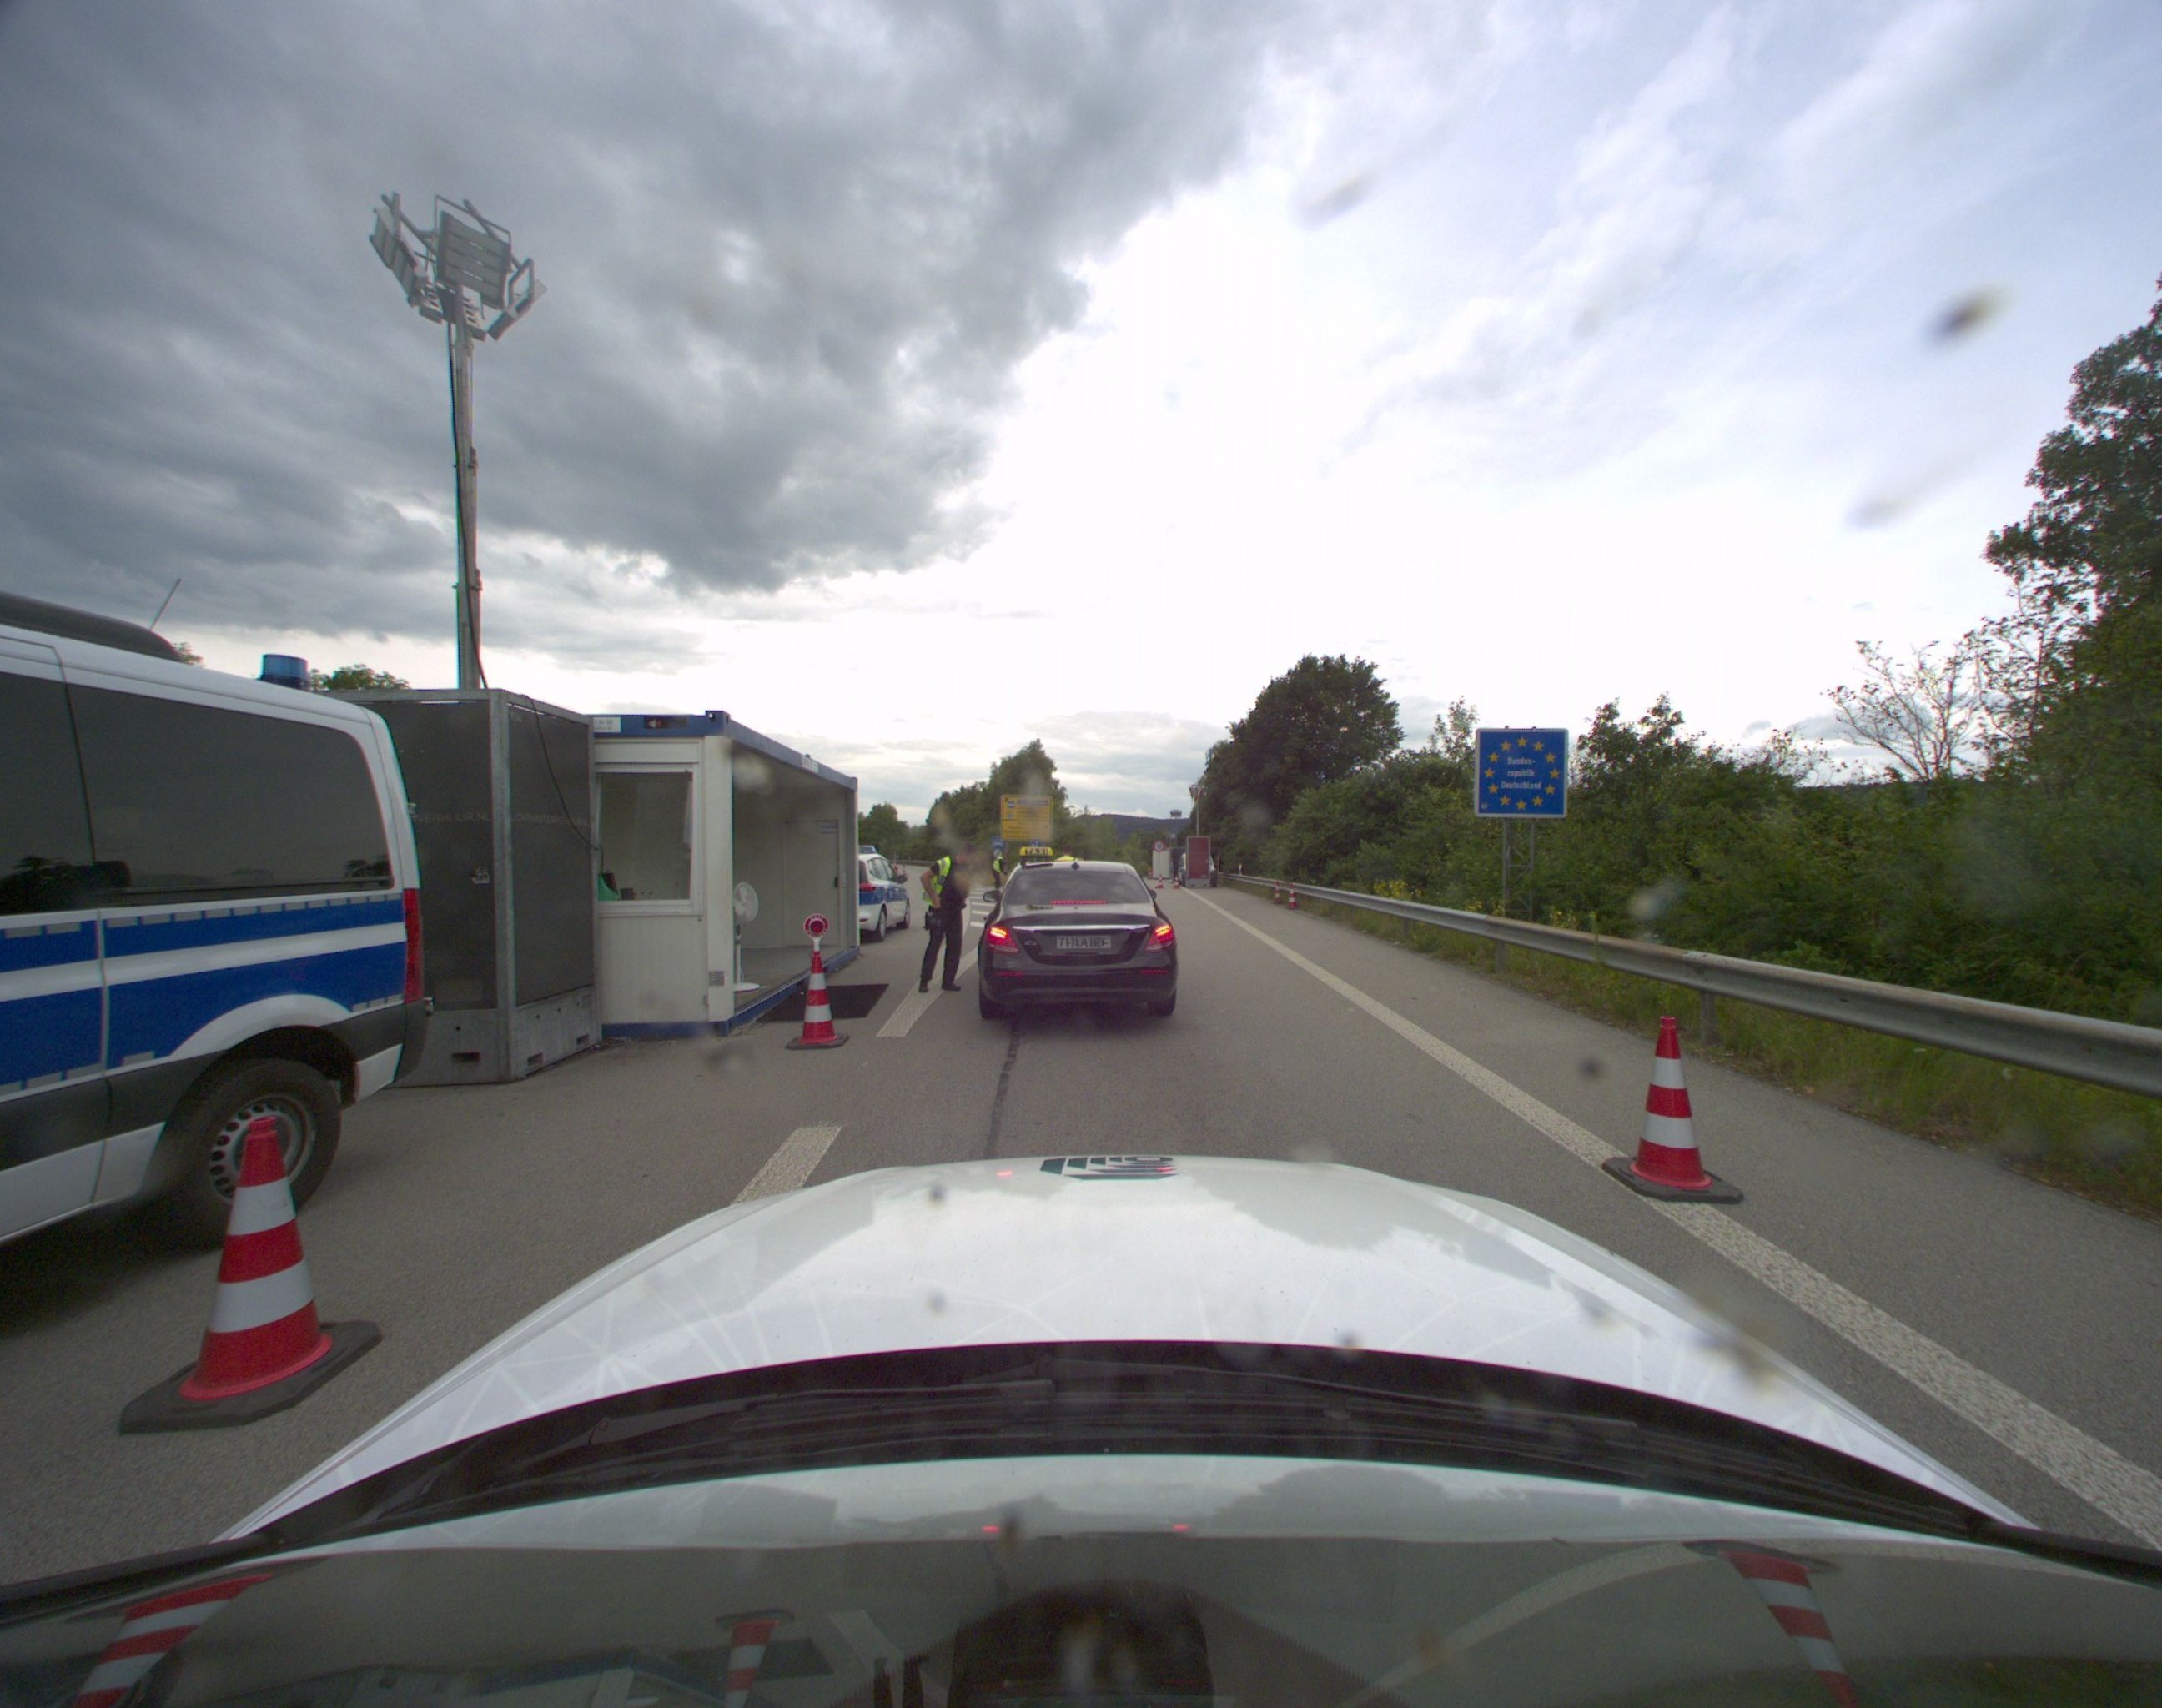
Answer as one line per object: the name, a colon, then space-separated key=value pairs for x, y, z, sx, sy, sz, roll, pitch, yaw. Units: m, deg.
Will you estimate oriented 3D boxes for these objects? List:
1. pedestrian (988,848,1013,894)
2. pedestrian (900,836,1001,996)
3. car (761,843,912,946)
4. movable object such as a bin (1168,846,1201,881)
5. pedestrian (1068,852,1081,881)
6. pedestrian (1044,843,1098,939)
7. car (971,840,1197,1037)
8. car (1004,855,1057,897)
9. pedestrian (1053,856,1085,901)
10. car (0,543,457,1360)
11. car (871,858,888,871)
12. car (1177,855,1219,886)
pedestrian: x=-3.113 y=0.652 z=31.606 sx=0.908 sy=1.769 sz=0.911 roll=0 pitch=0 yaw=-2
pedestrian: x=-1.487 y=0.668 z=9.288 sx=0.807 sy=1.718 sz=0.767 roll=-1 pitch=-1 yaw=38
car: x=-4.596 y=0.698 z=15.938 sx=1.864 sy=1.743 sz=4.004 roll=-1 pitch=0 yaw=-2
movable object such as a bin: x=7.031 y=0.628 z=55.479 sx=1.985 sy=2.280 sz=4.172 roll=0 pitch=0 yaw=4
pedestrian: x=-0.442 y=0.861 z=55.133 sx=0.659 sy=1.961 sz=0.763 roll=-1 pitch=-1 yaw=17
pedestrian: x=-0.184 y=0.715 z=16.087 sx=0.806 sy=1.830 sz=0.813 roll=-1 pitch=-1 yaw=18
car: x=-0.074 y=0.695 z=8.897 sx=1.851 sy=1.595 sz=4.370 roll=-1 pitch=0 yaw=-3
car: x=-1.896 y=0.816 z=31.792 sx=1.850 sy=1.498 sz=4.254 roll=-1 pitch=0 yaw=-1
pedestrian: x=-0.469 y=0.919 z=31.037 sx=0.914 sy=1.698 sz=0.905 roll=0 pitch=-1 yaw=-30
car: x=-4.249 y=0.298 z=1.632 sx=2.024 sy=2.463 sz=5.275 roll=-1 pitch=0 yaw=-2
car: x=-24.610 y=1.275 z=99.484 sx=1.857 sy=1.498 sz=4.238 roll=-1 pitch=0 yaw=-13
car: x=6.619 y=0.900 z=46.637 sx=1.908 sy=1.678 sz=5.087 roll=1 pitch=0 yaw=3
